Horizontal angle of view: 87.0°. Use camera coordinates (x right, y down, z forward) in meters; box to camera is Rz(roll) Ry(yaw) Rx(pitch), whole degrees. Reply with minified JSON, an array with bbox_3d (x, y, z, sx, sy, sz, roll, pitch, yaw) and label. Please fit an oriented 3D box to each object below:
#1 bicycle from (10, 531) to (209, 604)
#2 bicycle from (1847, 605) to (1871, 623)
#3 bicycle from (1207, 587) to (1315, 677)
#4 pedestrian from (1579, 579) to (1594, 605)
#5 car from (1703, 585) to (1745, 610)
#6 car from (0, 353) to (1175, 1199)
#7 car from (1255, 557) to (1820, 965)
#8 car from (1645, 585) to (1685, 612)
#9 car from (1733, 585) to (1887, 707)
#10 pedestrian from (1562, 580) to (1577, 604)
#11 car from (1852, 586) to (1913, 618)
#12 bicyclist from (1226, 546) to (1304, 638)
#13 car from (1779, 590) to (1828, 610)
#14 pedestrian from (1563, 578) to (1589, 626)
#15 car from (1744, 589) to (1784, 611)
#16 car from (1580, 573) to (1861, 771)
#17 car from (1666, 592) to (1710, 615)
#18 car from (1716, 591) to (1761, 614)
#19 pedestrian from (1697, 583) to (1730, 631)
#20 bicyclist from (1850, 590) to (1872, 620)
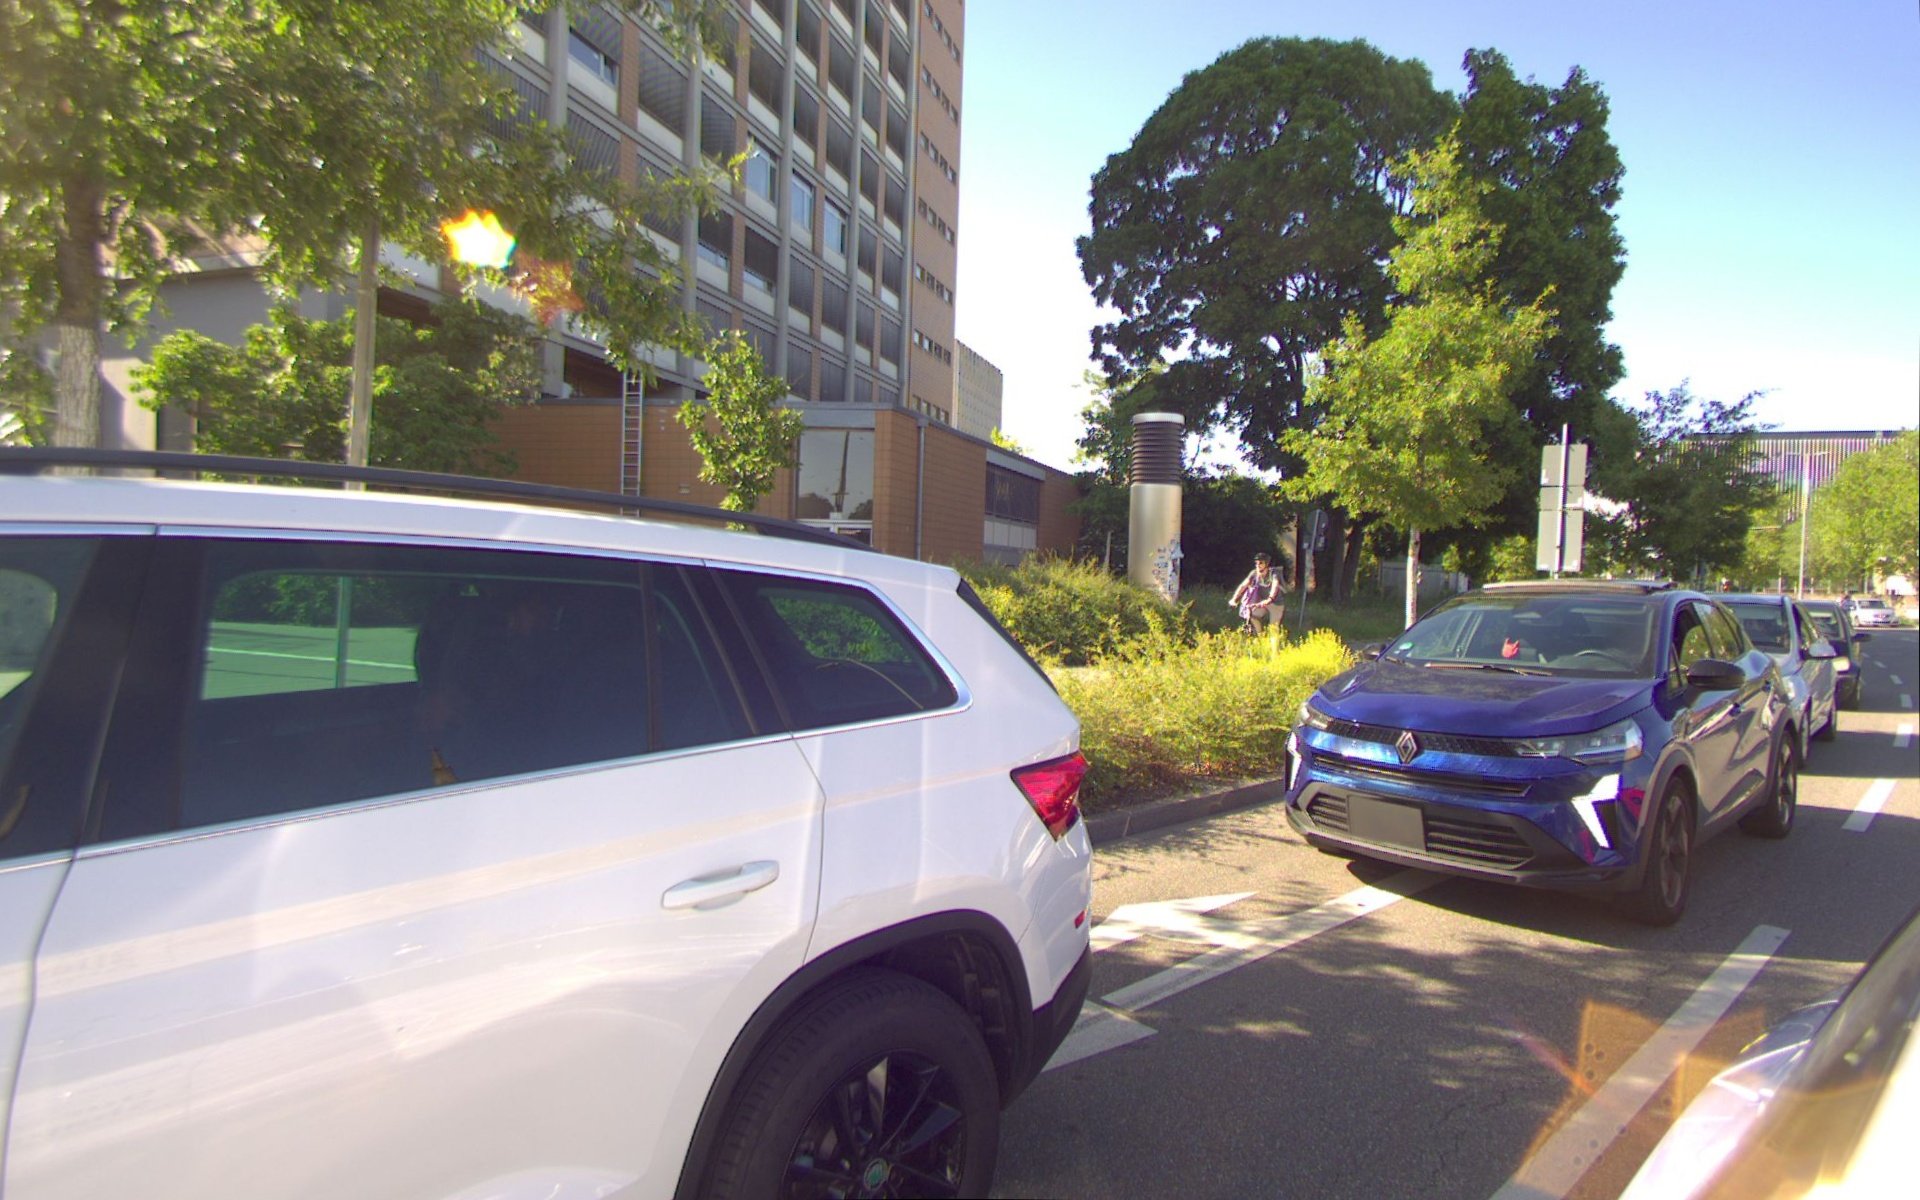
[{"bbox_3d":[-17.547,-0.660,21.013,0.790,1.394,3.111,2,1,26],"label":"bicycle"},{"bbox_3d":[46.620,0.725,52.488,0.585,0.900,1.637,0,0,30],"label":"bicycle"},{"bbox_3d":[4.525,0.452,15.143,1.804,1.232,0.691,0,4,-44],"label":"bicycle"},{"bbox_3d":[48.801,-0.626,78.801,0.811,1.941,0.767,0,0,20],"label":"pedestrian"},{"bbox_3d":[64.775,-0.246,85.873,1.767,2.039,4.201,1,1,22],"label":"car"},{"bbox_3d":[-1.618,0.543,1.676,4.223,1.662,1.697,0,2,-42],"label":"car"},{"bbox_3d":[3.622,0.628,6.008,4.013,1.626,1.703,0,1,-42],"label":"car"},{"bbox_3d":[51.395,-0.154,73.808,1.811,1.876,3.717,2,1,27],"label":"car"},{"bbox_3d":[13.263,0.620,15.731,1.646,1.631,3.435,3,2,43],"label":"car"},{"bbox_3d":[47.910,-0.632,79.565,0.811,1.941,0.767,0,0,20],"label":"pedestrian"},{"bbox_3d":[51.743,0.113,56.795,1.509,1.700,3.353,1,0,24],"label":"car"},{"bbox_3d":[4.563,-0.124,15.134,0.892,1.294,0.721,0,3,-44],"label":"bicyclist"},{"bbox_3d":[57.505,0.045,69.069,1.569,1.220,3.964,1,-1,25],"label":"car"},{"bbox_3d":[21.519,0.061,35.351,0.688,1.624,0.653,2,1,35],"label":"pedestrian"},{"bbox_3d":[61.864,0.010,77.878,1.578,1.625,3.048,2,1,23],"label":"car"},{"bbox_3d":[8.095,0.599,10.638,3.977,1.645,1.782,0,2,-45],"label":"car"},{"bbox_3d":[48.574,0.216,67.571,1.735,1.494,3.543,0,1,26],"label":"car"},{"bbox_3d":[51.658,0.139,67.202,1.736,1.396,3.540,1,1,27],"label":"car"},{"bbox_3d":[26.187,0.231,35.178,0.683,1.624,0.658,2,1,17],"label":"pedestrian"},{"bbox_3d":[46.610,0.254,52.380,0.689,1.578,0.807,0,0,31],"label":"bicyclist"}]
